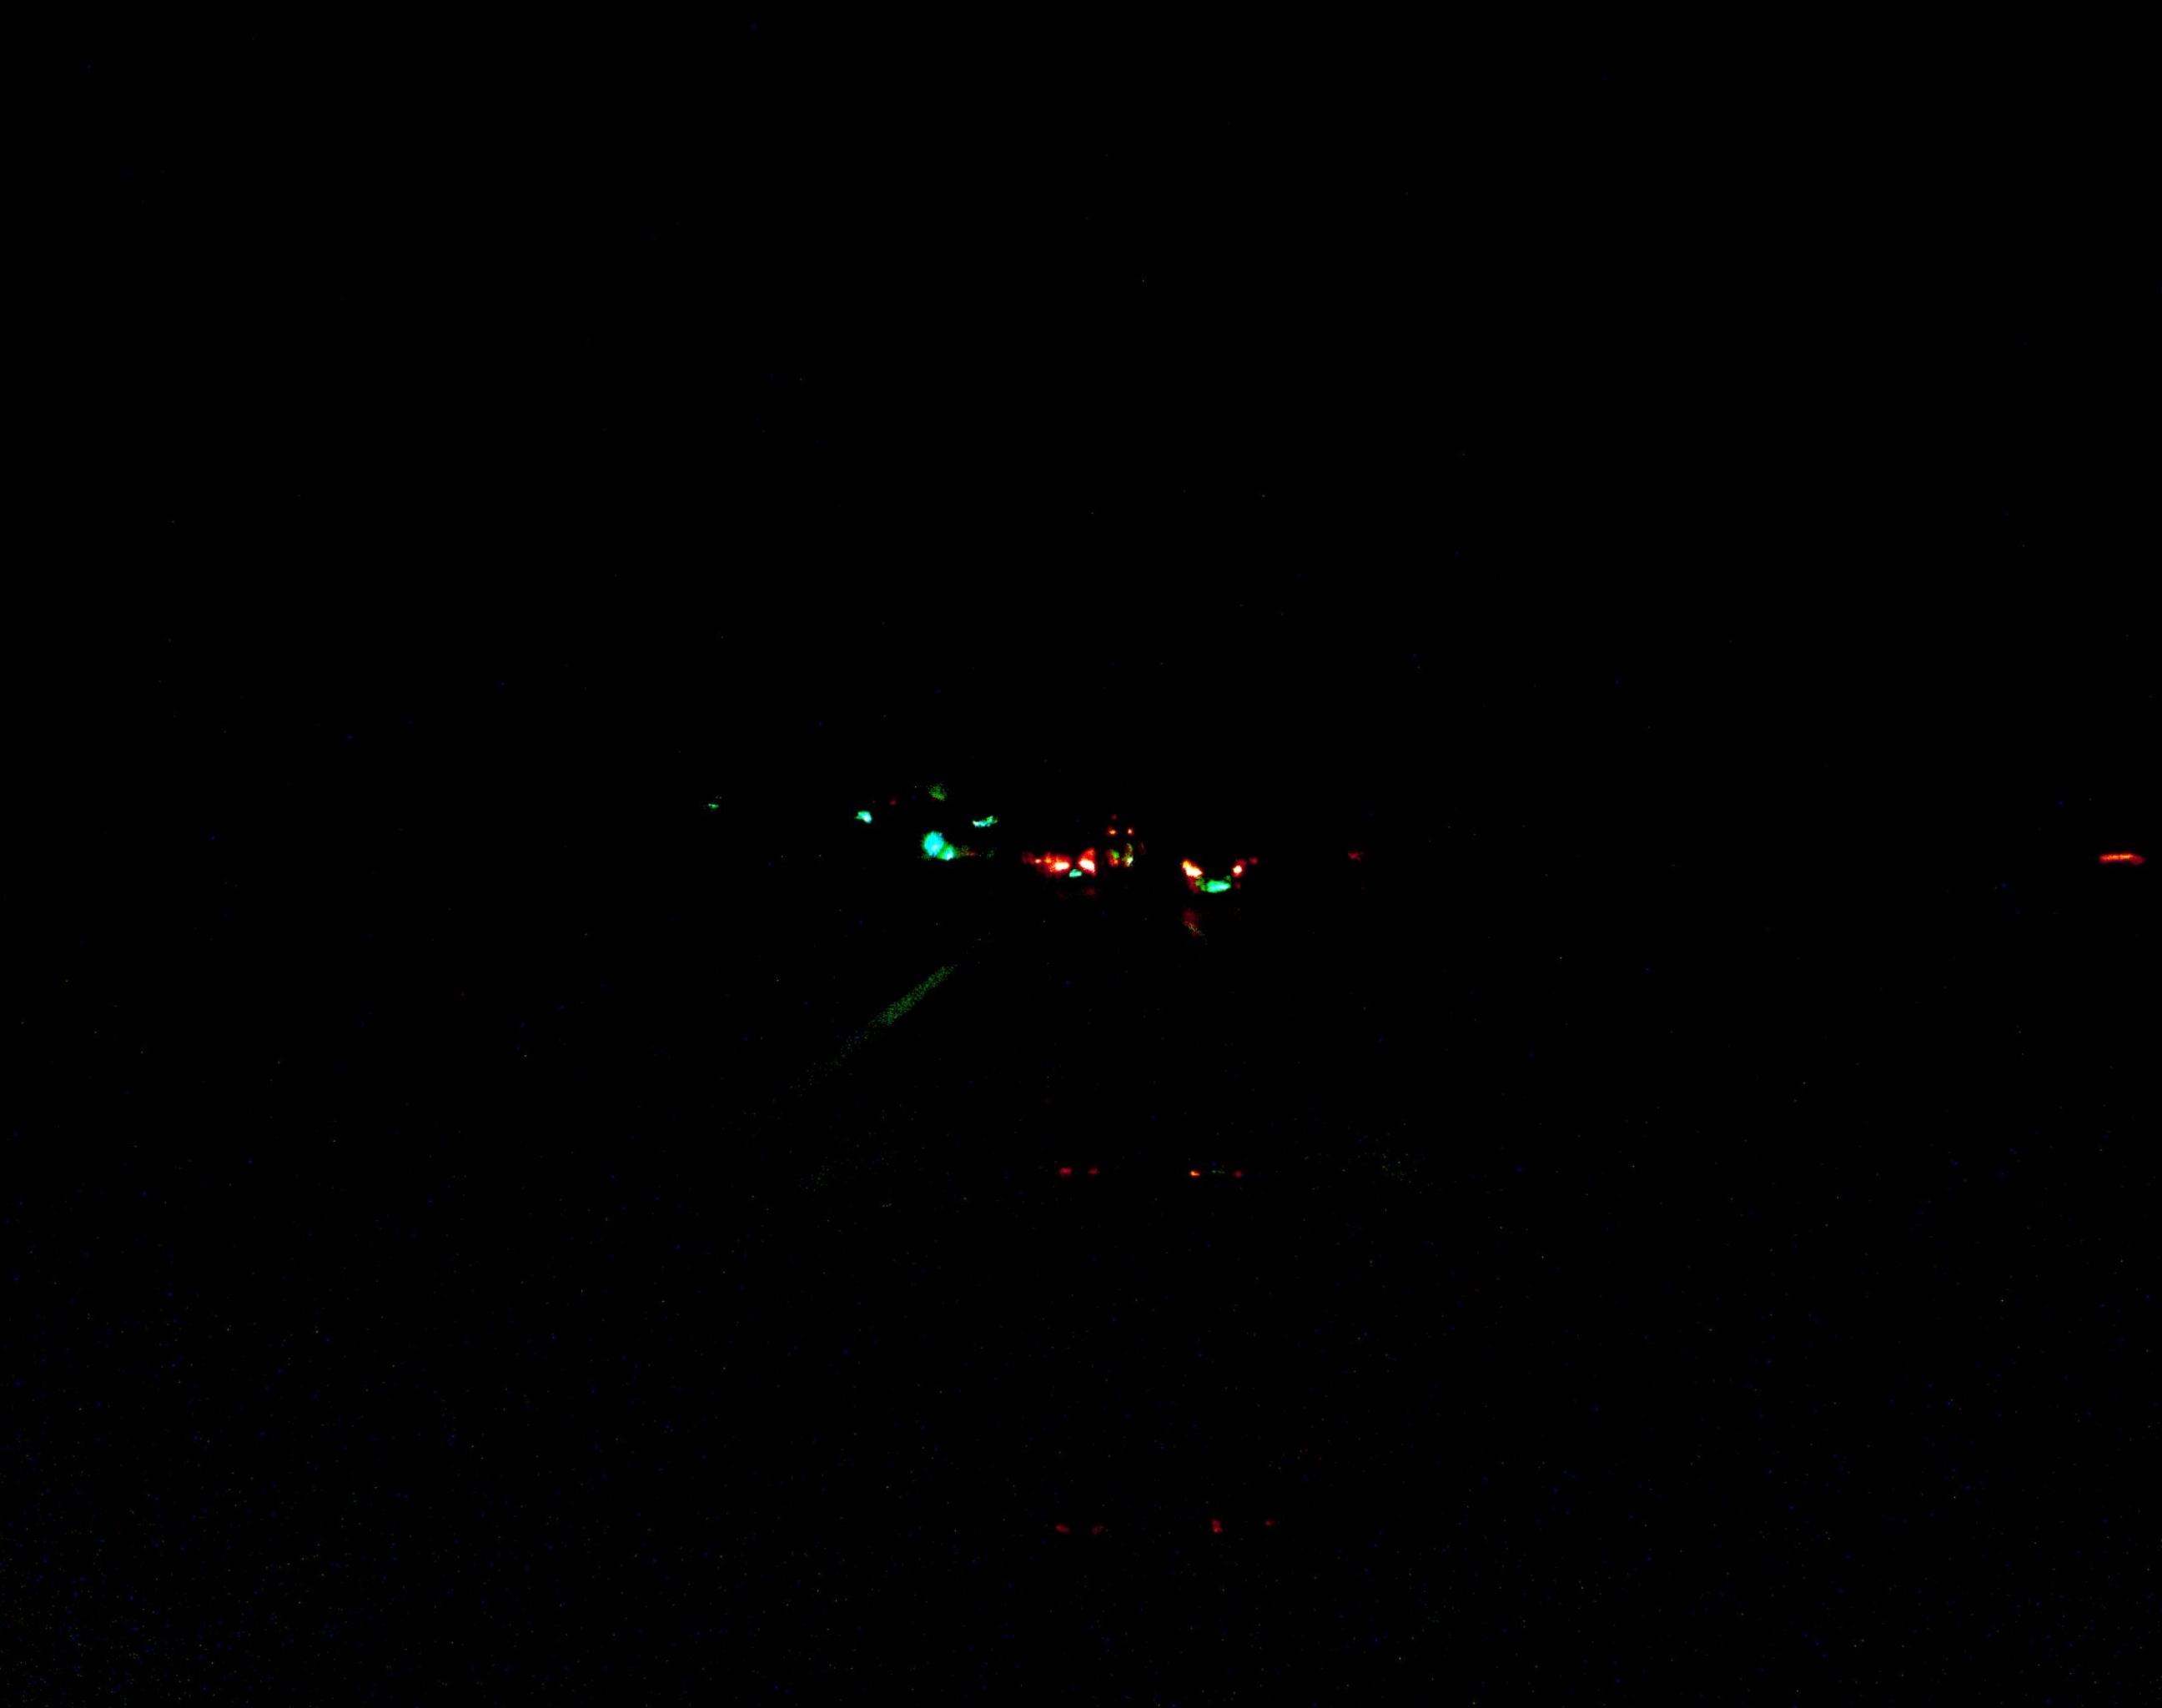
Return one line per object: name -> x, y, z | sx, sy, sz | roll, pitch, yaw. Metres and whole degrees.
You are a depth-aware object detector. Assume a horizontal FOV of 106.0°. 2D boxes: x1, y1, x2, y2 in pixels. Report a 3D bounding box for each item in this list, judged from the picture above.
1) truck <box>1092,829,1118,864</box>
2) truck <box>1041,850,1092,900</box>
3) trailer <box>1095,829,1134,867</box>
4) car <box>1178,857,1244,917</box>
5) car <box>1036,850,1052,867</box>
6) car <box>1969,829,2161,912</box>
truck -> 3.124, -1.056, 107.178 | 2.707, 4.240, 5.284 | -2, 3, -6
truck -> -0.796, 0.916, 39.375 | 2.140, 2.077, 6.596 | 2, 1, -3
trailer -> 3.976, -0.899, 101.004 | 2.735, 4.247, 13.347 | -4, 2, -6
car -> 3.912, 0.940, 25.001 | 1.791, 1.617, 4.265 | -2, 0, 7
car -> -4.881, 0.623, 107.458 | 1.988, 2.014, 3.997 | -4, -1, -2
car -> 26.700, 0.371, 21.703 | 2.217, 2.013, 4.015 | 1, 1, 13
